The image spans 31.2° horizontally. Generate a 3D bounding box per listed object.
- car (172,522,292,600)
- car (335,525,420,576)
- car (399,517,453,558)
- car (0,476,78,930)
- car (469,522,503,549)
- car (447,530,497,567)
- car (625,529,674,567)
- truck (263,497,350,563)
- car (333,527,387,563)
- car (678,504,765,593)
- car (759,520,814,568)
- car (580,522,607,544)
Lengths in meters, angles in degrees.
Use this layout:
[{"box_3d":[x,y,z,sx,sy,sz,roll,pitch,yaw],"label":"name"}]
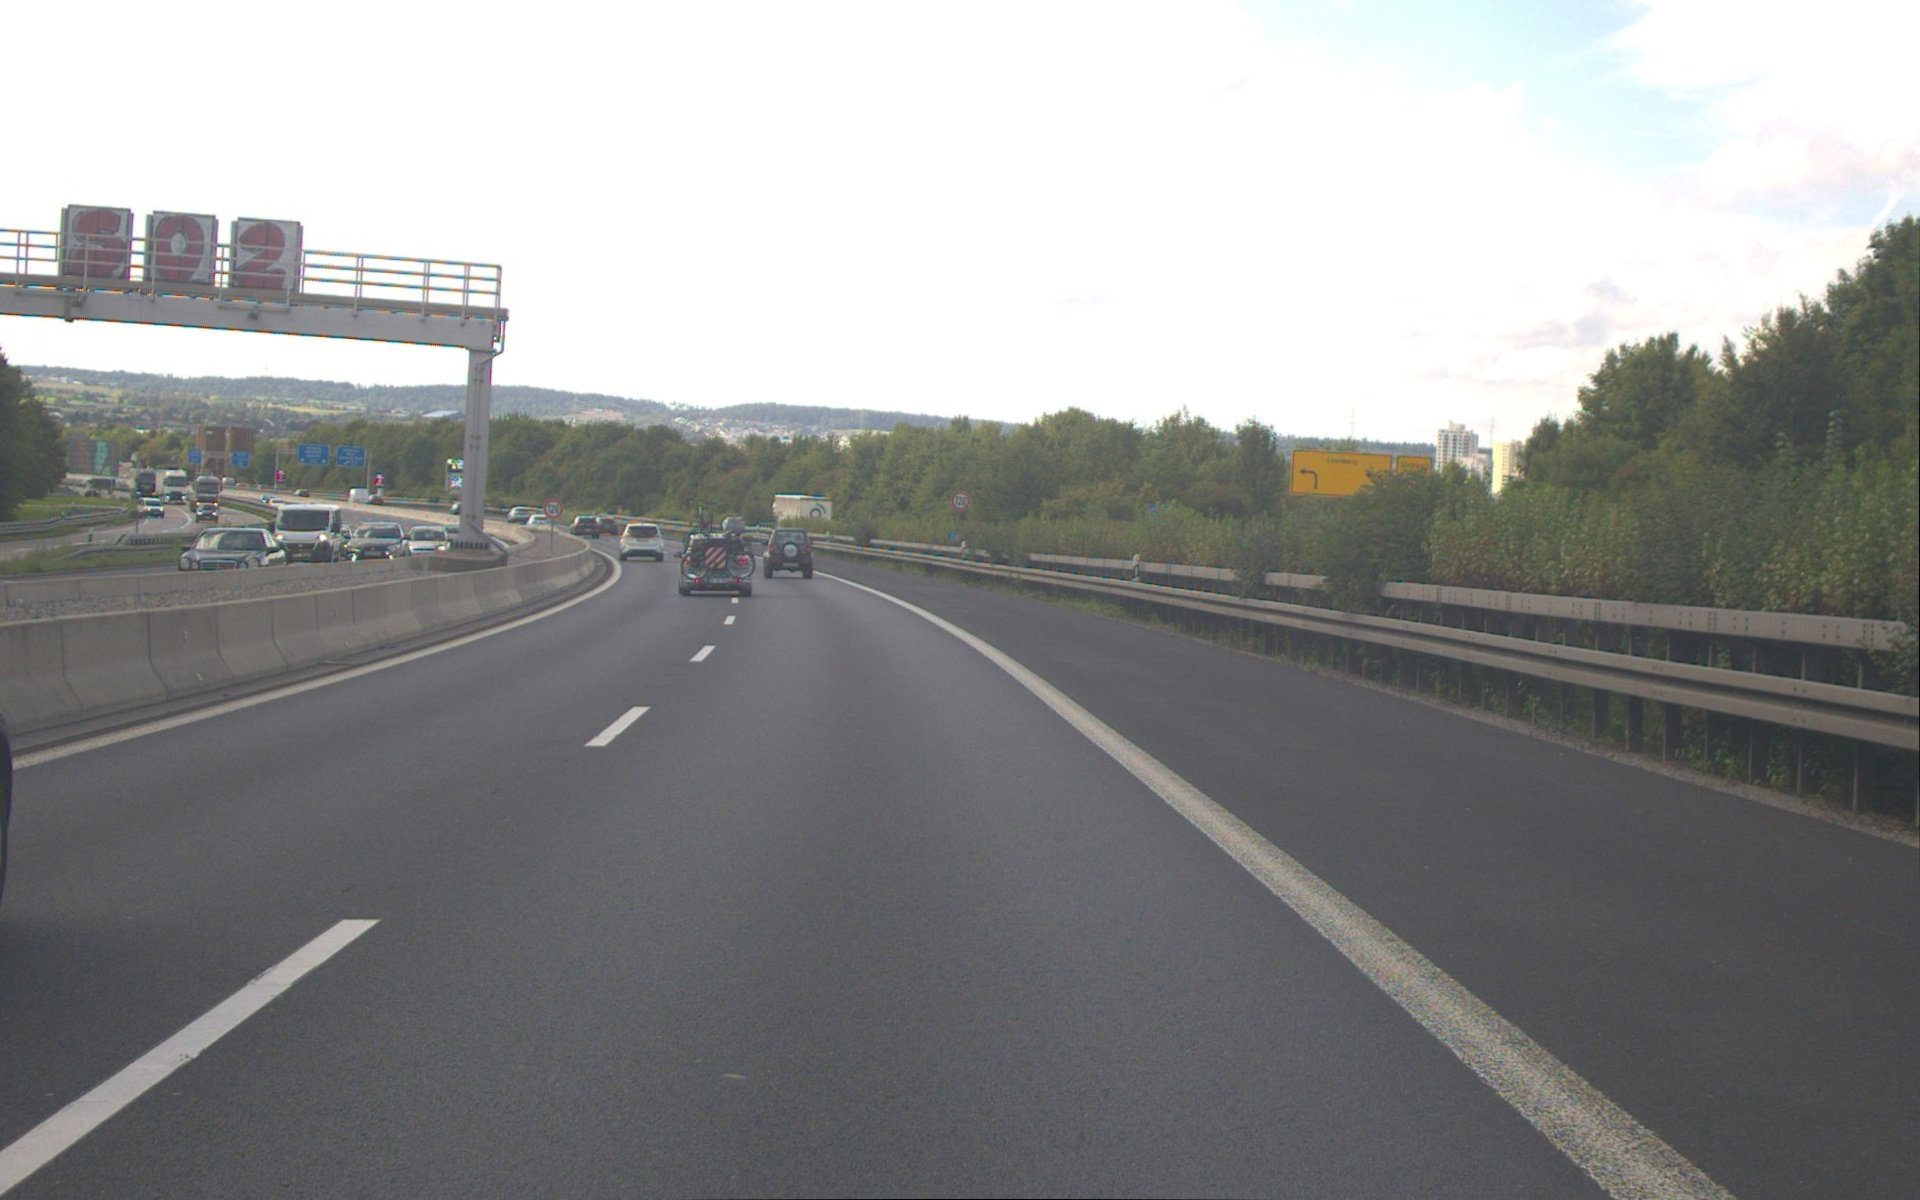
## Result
[{"box_3d":[-15.096,-0.823,71.495,1.698,1.534,4.502,1,1,-3],"label":"car"},{"box_3d":[-18.410,-1.576,108.845,1.993,1.531,5.286,1,1,-2],"label":"car"},{"box_3d":[-19.601,-2.291,126.254,1.565,1.445,3.889,1,1,-3],"label":"car"},{"box_3d":[-4.519,0.408,11.670,1.817,1.730,5.187,1,1,-1],"label":"car"},{"box_3d":[-28.968,-3.966,210.238,1.764,1.575,4.933,1,1,-4],"label":"car"},{"box_3d":[-22.759,-2.421,160.480,1.993,1.635,4.001,1,1,-3],"label":"car"},{"box_3d":[-14.196,-2.372,156.846,1.993,1.678,4.001,1,0,-8],"label":"car"},{"box_3d":[-22.837,-2.441,120.306,2.183,2.218,5.572,1,1,-2],"label":"truck"},{"box_3d":[-24.284,-2.227,139.304,1.665,1.391,4.602,1,1,-4],"label":"car"},{"box_3d":[-6.040,-1.337,87.372,2.030,2.144,4.001,1,2,-2],"label":"car"},{"box_3d":[-5.994,-1.949,118.765,1.586,1.591,4.097,1,2,-7],"label":"car"},{"box_3d":[-27.376,-4.997,256.519,1.604,1.552,4.001,1,0,-12],"label":"car"}]
